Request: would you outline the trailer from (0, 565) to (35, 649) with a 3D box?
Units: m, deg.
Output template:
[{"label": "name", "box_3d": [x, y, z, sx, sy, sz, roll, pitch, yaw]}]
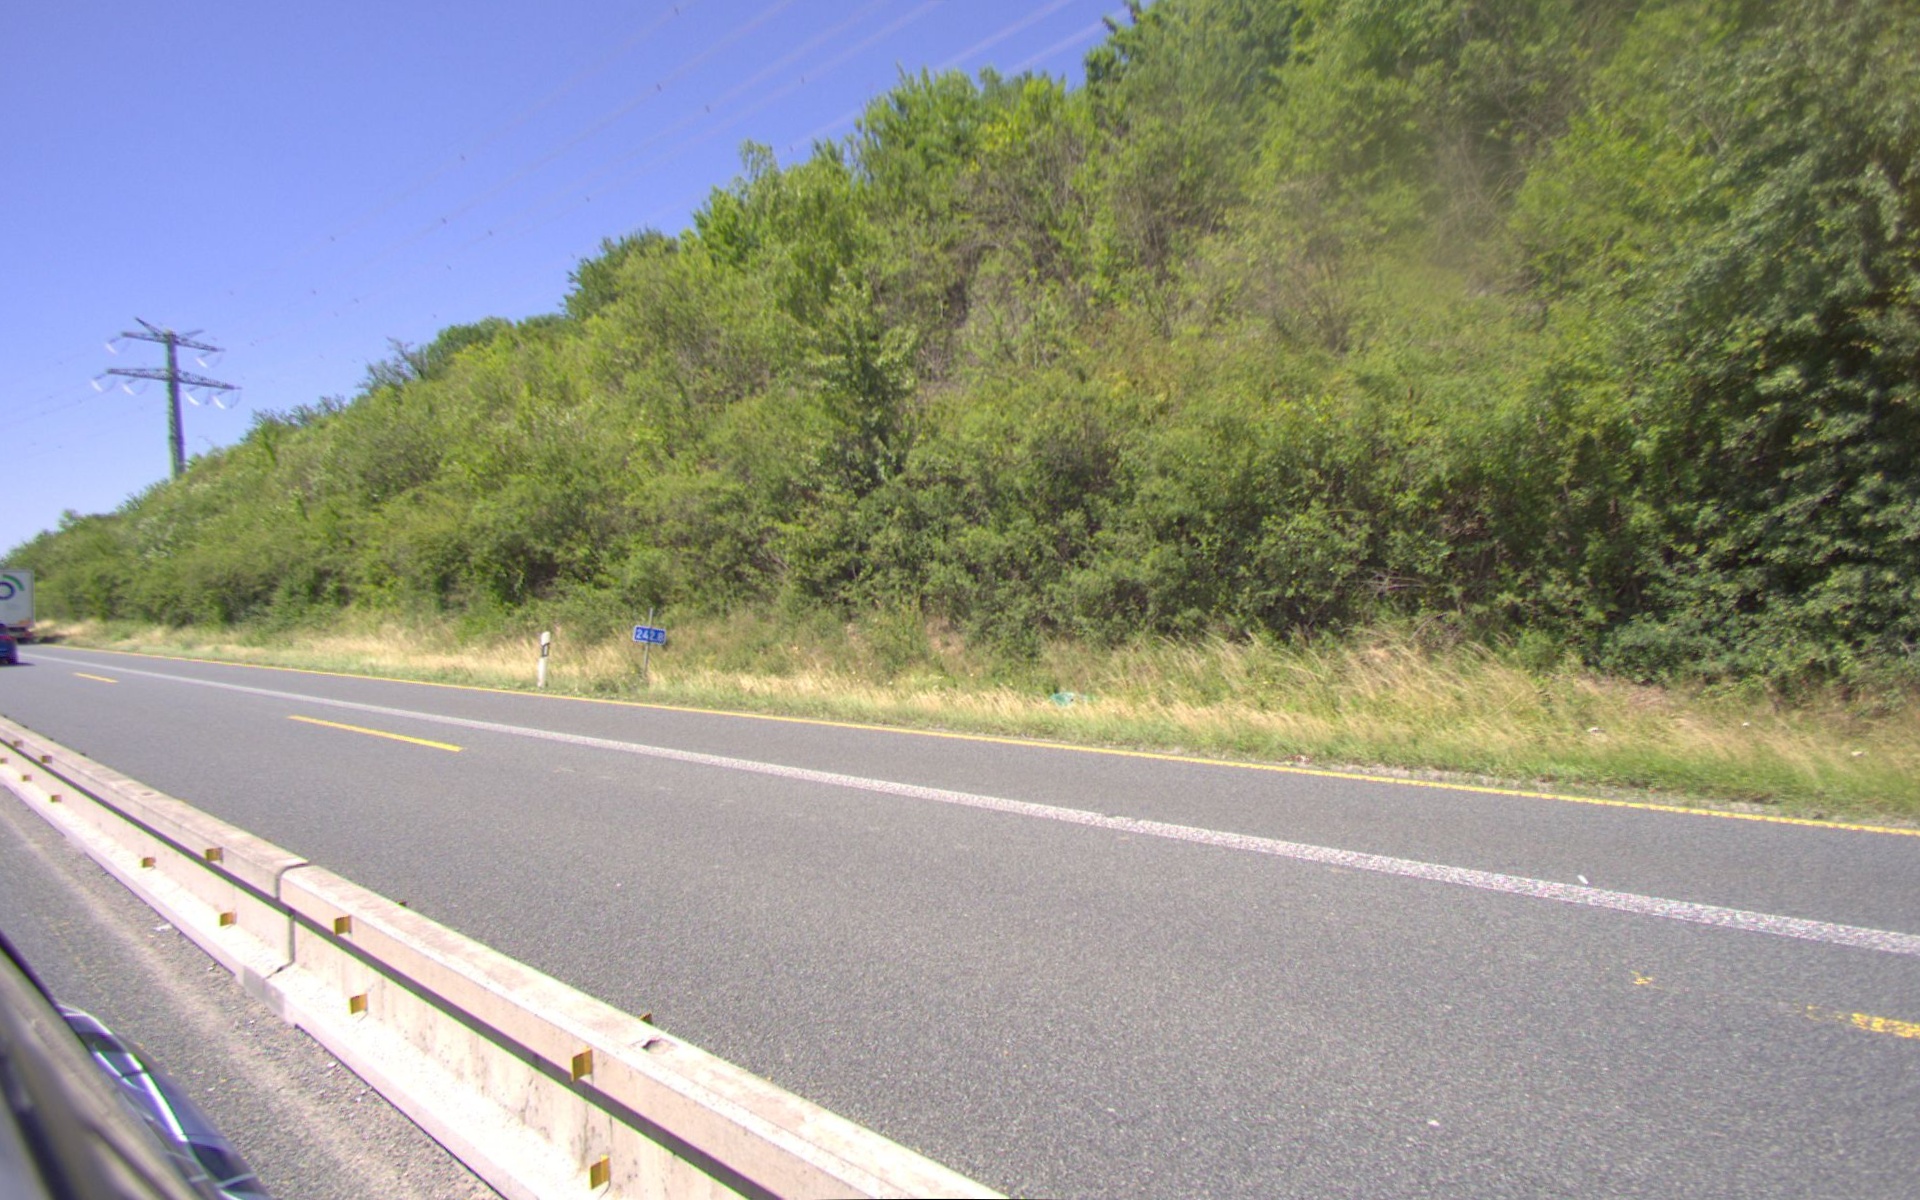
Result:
[{"label": "trailer", "box_3d": [-53.040, 0.454, 55.255, 8.442, 4.345, 2.611, -1, 1, 41]}]

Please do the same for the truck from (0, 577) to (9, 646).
[{"label": "truck", "box_3d": [-60.149, 0.797, 61.407, 10.345, 4.022, 2.385, -1, 1, 41]}]

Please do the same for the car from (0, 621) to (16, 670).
[{"label": "car", "box_3d": [-30.297, 1.390, 30.873, 4.167, 1.436, 1.695, -1, 0, 40]}]
